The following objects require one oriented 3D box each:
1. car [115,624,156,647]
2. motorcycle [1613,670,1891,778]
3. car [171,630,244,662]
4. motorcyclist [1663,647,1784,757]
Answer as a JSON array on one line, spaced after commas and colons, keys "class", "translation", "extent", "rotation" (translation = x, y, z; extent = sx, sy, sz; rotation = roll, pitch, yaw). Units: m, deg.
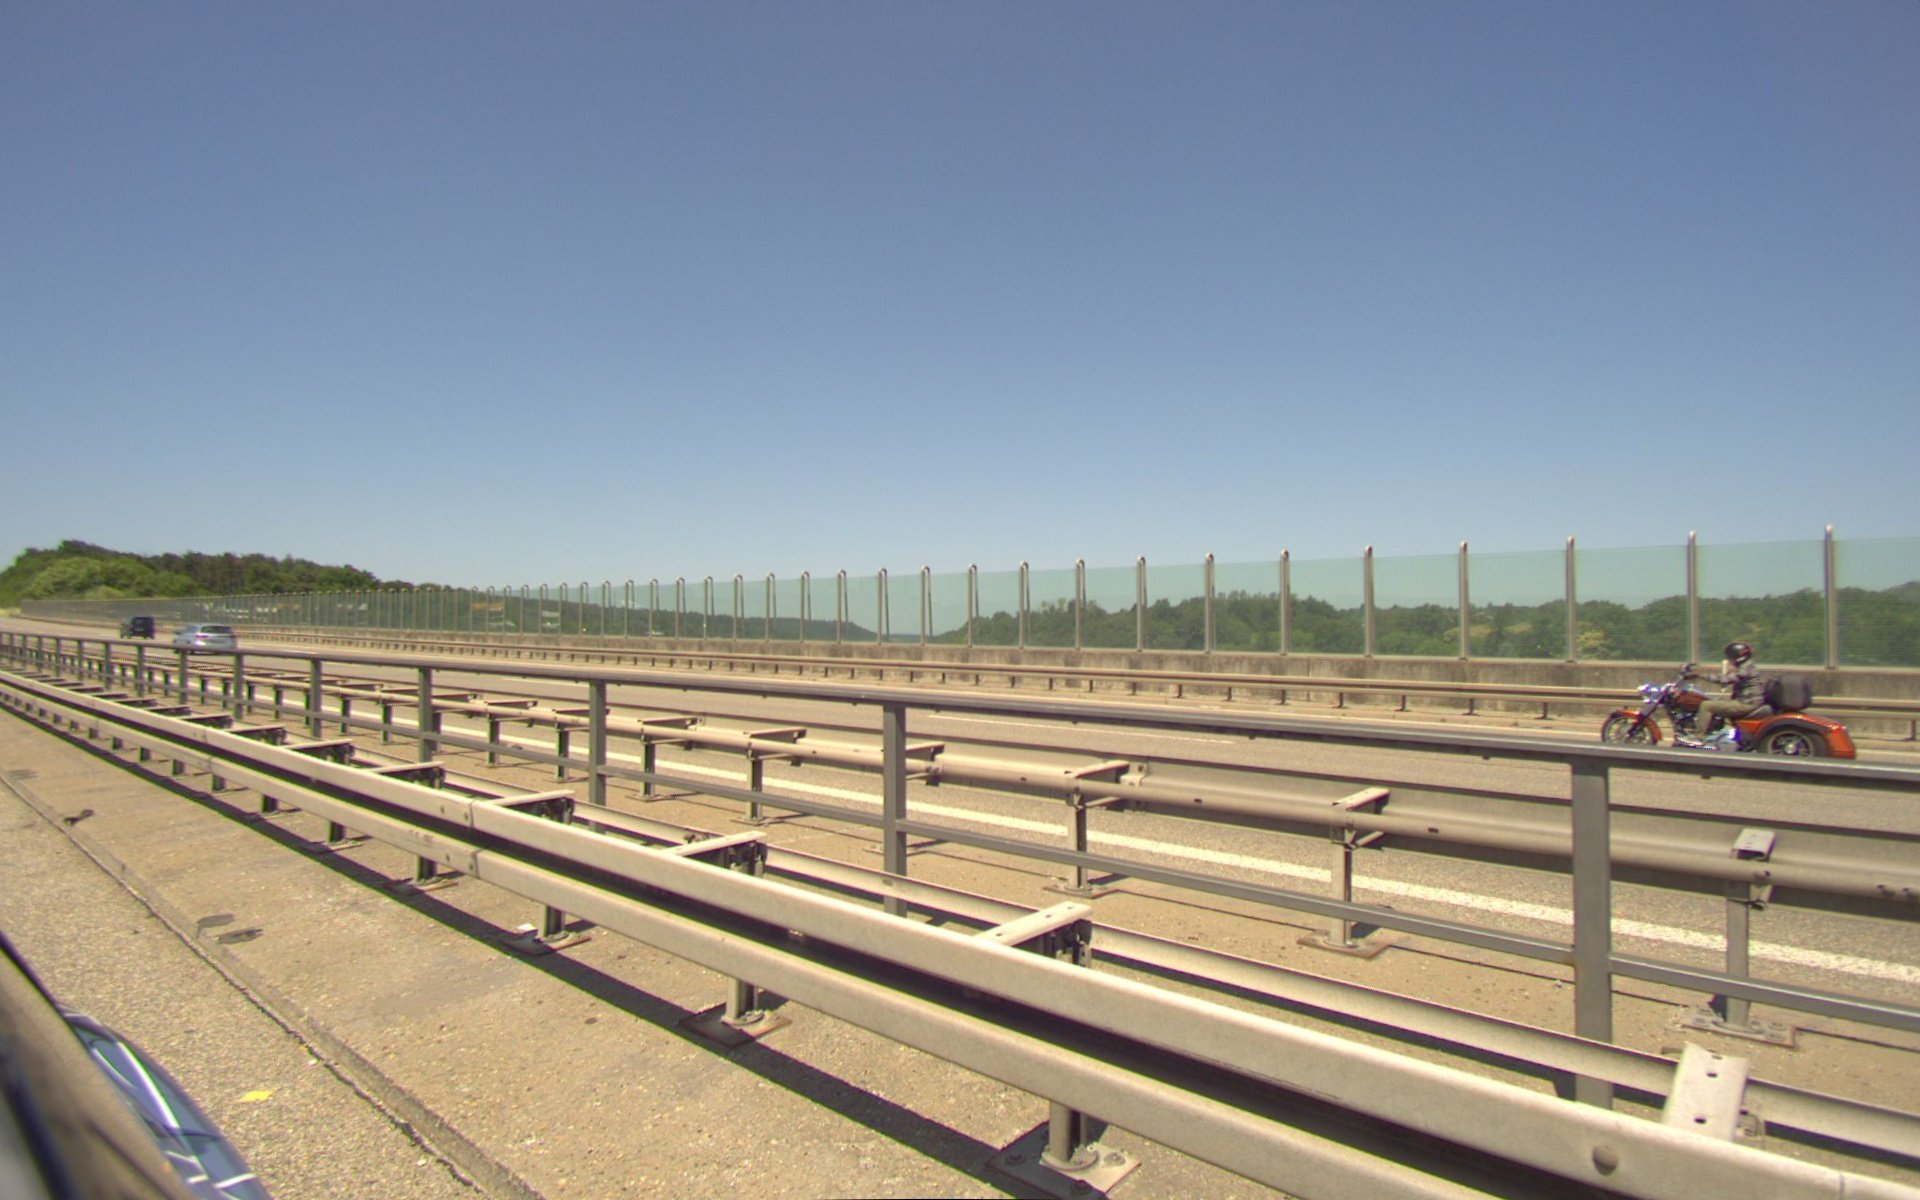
[{"class": "car", "translation": [-65.796, 2.821, 80.730], "extent": [4.299, 1.798, 1.764], "rotation": [-1, -2, 40]}, {"class": "motorcycle", "translation": [9.664, 1.456, 12.460], "extent": [2.575, 1.108, 1.351], "rotation": [-1, -4, 41]}, {"class": "car", "translation": [-35.240, 2.127, 47.356], "extent": [4.163, 1.405, 1.890], "rotation": [0, -2, 41]}, {"class": "motorcyclist", "translation": [9.518, 1.234, 12.613], "extent": [1.118, 1.266, 1.174], "rotation": [-2, -4, 41]}]
